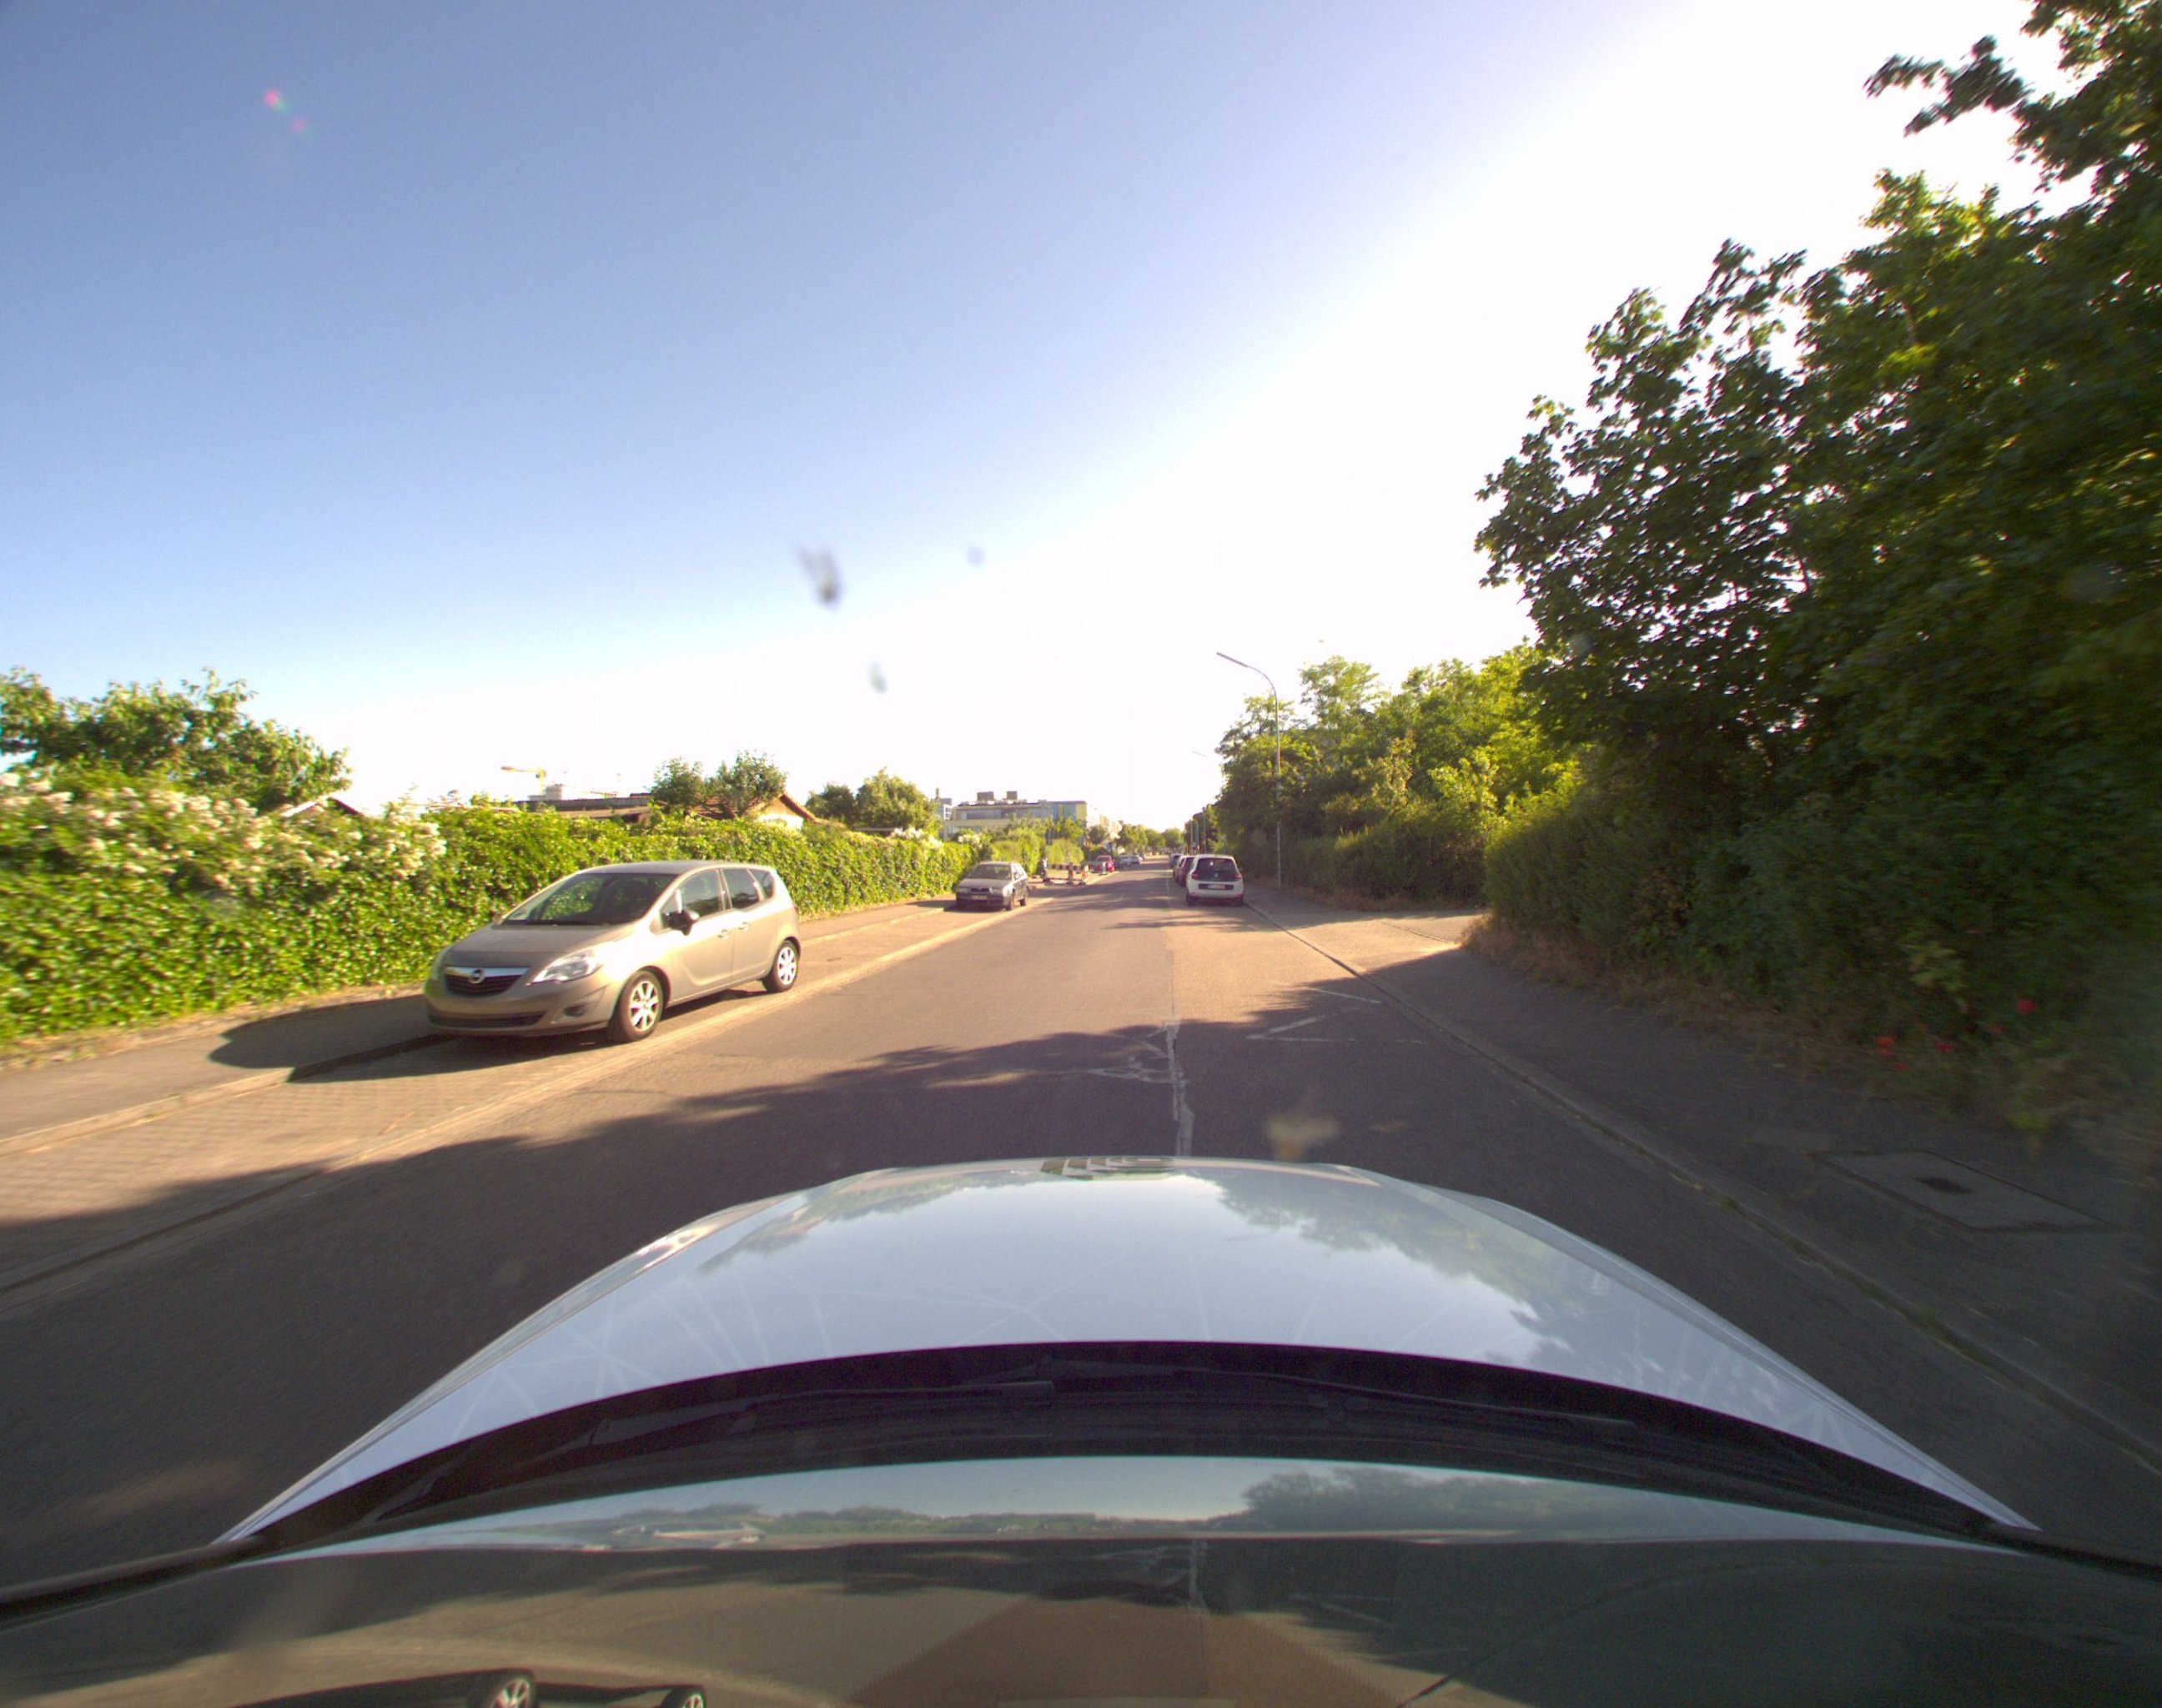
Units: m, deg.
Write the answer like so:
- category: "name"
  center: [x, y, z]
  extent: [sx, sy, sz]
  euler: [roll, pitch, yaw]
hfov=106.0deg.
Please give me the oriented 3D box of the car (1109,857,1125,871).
- category: "car"
  center: [4.060, 1.095, 90.919]
  extent: [1.552, 1.495, 3.576]
  euler: [0, 0, 6]

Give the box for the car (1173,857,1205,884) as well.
- category: "car"
  center: [6.136, 0.911, 46.607]
  extent: [1.647, 1.445, 4.663]
  euler: [0, 0, 5]

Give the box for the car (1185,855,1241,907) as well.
- category: "car"
  center: [4.110, 0.793, 25.683]
  extent: [1.548, 1.538, 3.561]
  euler: [0, 0, 6]

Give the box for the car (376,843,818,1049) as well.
- category: "car"
  center: [-4.539, 0.728, 8.570]
  extent: [1.634, 1.600, 4.321]
  euler: [-1, 0, 8]

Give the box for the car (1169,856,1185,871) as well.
- category: "car"
  center: [10.437, 1.019, 88.404]
  extent: [1.614, 1.526, 3.909]
  euler: [0, 0, 7]

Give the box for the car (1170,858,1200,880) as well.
- category: "car"
  center: [6.824, 0.949, 53.847]
  extent: [1.745, 1.413, 4.662]
  euler: [0, 0, 5]

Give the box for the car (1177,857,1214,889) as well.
- category: "car"
  center: [5.632, 0.913, 40.451]
  extent: [1.647, 1.486, 3.844]
  euler: [0, 0, 5]

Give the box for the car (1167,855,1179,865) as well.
- category: "car"
  center: [14.381, 0.959, 127.652]
  extent: [1.733, 1.428, 4.140]
  euler: [-1, 0, 6]

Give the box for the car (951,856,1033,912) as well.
- category: "car"
  center: [-2.753, 0.890, 26.164]
  extent: [1.635, 1.556, 4.424]
  euler: [2, 0, 6]

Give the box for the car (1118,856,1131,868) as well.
- category: "car"
  center: [5.786, 1.078, 107.904]
  extent: [1.552, 1.495, 3.764]
  euler: [-3, 0, 6]

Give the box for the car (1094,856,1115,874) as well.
- category: "car"
  center: [2.090, 1.004, 72.616]
  extent: [1.552, 1.495, 3.576]
  euler: [-3, 0, 6]

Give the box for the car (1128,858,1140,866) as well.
- category: "car"
  center: [9.016, 1.344, 137.071]
  extent: [1.845, 1.428, 4.140]
  euler: [-1, 0, 6]

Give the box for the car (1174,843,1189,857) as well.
- category: "car"
  center: [11.613, -0.417, 94.156]
  extent: [1.668, 1.608, 4.184]
  euler: [0, 0, 5]

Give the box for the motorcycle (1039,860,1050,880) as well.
- category: "motorcycle"
  center: [-2.328, 1.009, 52.080]
  extent: [0.564, 1.268, 2.092]
  euler: [-1, -1, 2]
